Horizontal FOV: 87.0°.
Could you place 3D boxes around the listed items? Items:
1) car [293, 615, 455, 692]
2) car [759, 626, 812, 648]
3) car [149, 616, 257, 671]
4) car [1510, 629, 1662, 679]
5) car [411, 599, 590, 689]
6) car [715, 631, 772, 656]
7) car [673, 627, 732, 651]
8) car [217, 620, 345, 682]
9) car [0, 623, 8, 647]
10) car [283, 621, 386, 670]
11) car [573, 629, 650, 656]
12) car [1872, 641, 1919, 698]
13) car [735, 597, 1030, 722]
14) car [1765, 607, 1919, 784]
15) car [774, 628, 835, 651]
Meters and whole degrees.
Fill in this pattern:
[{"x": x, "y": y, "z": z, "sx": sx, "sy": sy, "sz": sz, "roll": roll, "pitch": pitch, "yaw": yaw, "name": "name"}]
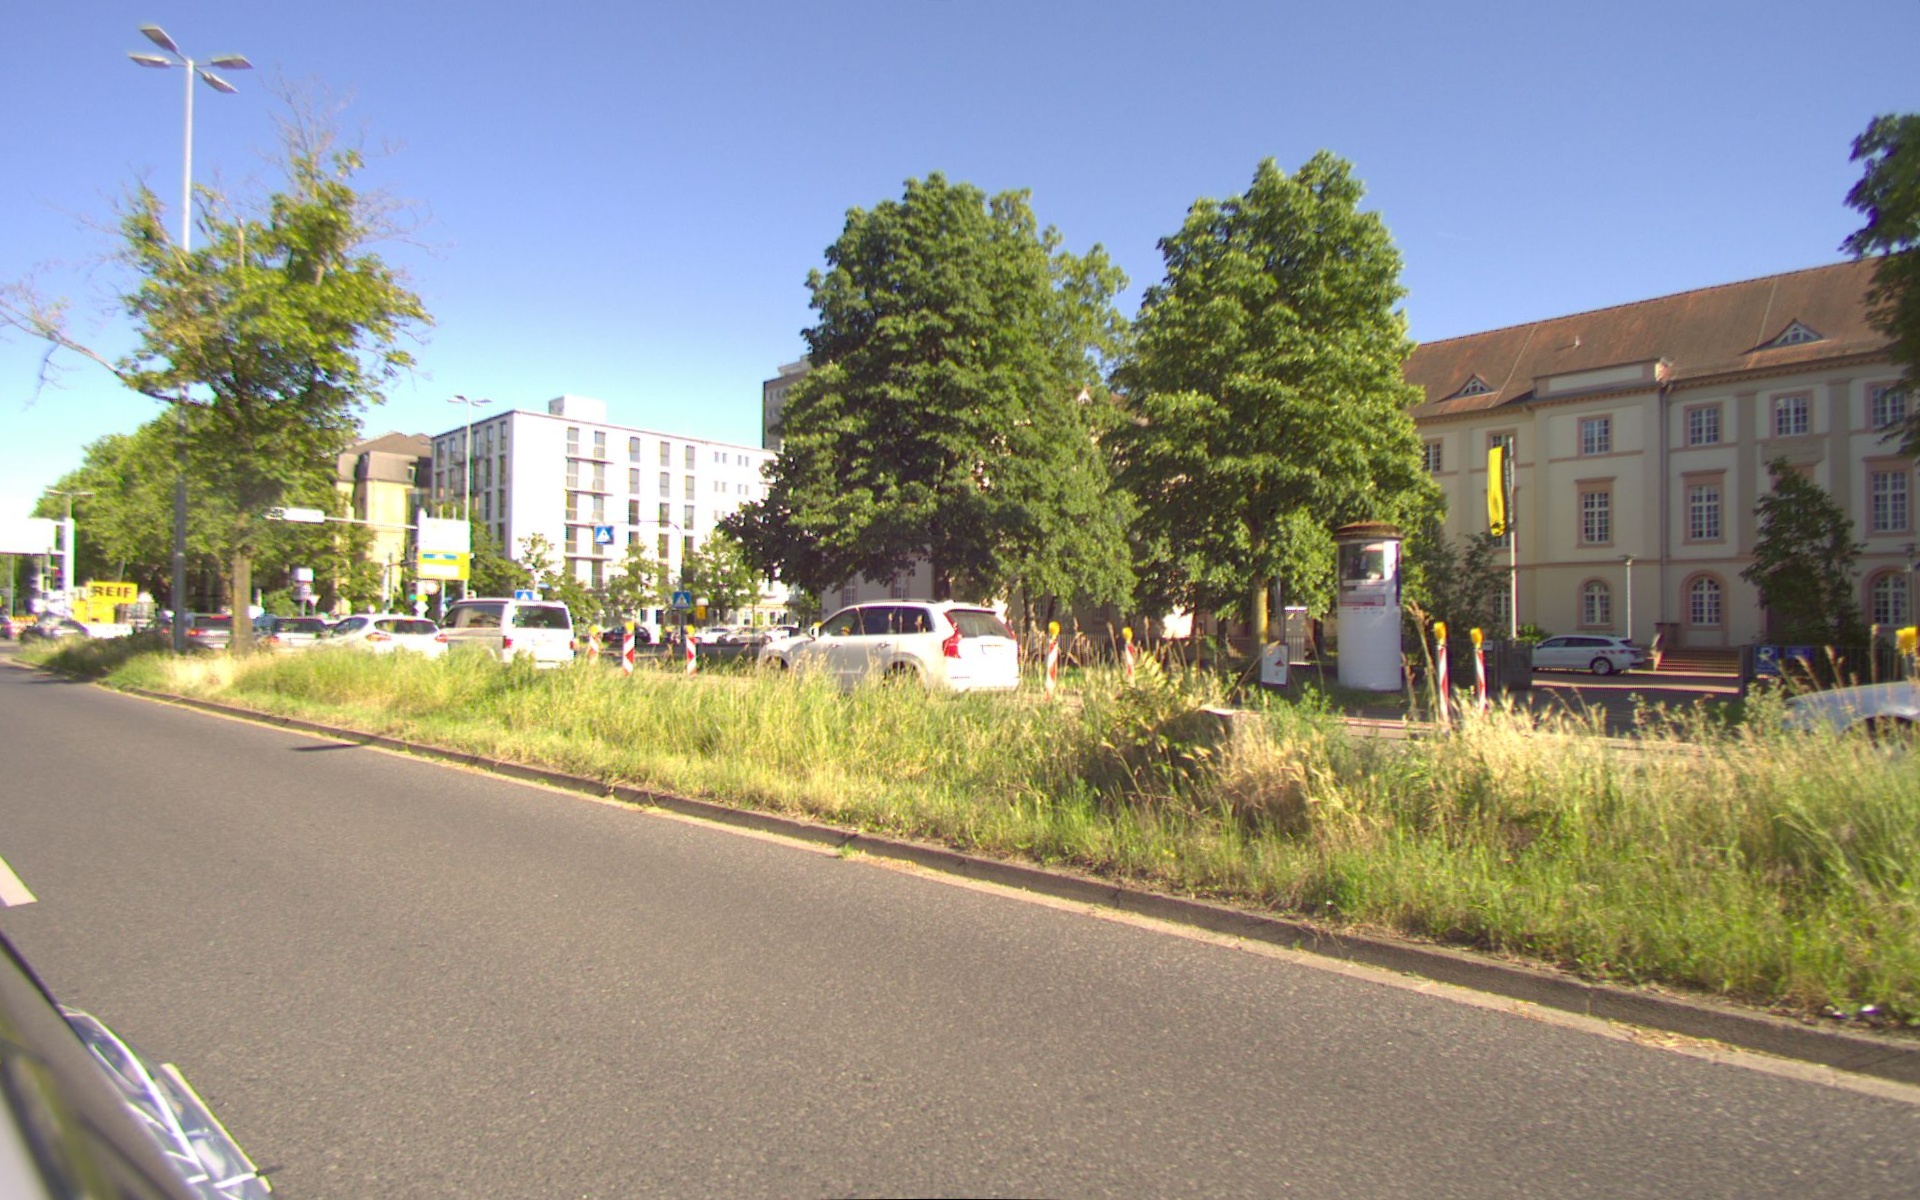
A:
[{"x": -12.935, "y": 1.120, "z": 22.257, "sx": 4.202, "sy": 1.530, "sz": 1.777, "roll": -1, "pitch": -2, "yaw": 40, "name": "car"}, {"x": -14.291, "y": 2.989, "z": 82.988, "sx": 3.940, "sy": 1.630, "sz": 1.921, "roll": 0, "pitch": 1, "yaw": -44, "name": "car"}, {"x": -23.443, "y": 1.285, "z": 31.277, "sx": 4.344, "sy": 1.530, "sz": 1.777, "roll": -1, "pitch": -1, "yaw": 40, "name": "car"}, {"x": 23.780, "y": 1.995, "z": 38.552, "sx": 4.684, "sy": 1.503, "sz": 1.625, "roll": 3, "pitch": 2, "yaw": 41, "name": "car"}, {"x": -11.674, "y": 1.065, "z": 25.581, "sx": 5.014, "sy": 2.043, "sz": 2.210, "roll": -1, "pitch": -2, "yaw": 40, "name": "car"}, {"x": -16.324, "y": 3.257, "z": 76.299, "sx": 3.940, "sy": 1.630, "sz": 1.563, "roll": 0, "pitch": 1, "yaw": -44, "name": "car"}, {"x": -19.708, "y": 2.952, "z": 77.402, "sx": 3.940, "sy": 1.630, "sz": 1.921, "roll": 0, "pitch": 1, "yaw": -44, "name": "car"}, {"x": -18.358, "y": 1.333, "z": 27.289, "sx": 4.360, "sy": 1.530, "sz": 1.777, "roll": -2, "pitch": -1, "yaw": 40, "name": "car"}, {"x": -65.493, "y": 2.345, "z": 68.046, "sx": 4.278, "sy": 1.598, "sz": 1.837, "roll": -1, "pitch": -2, "yaw": 43, "name": "car"}, {"x": -21.116, "y": 1.491, "z": 34.102, "sx": 4.076, "sy": 1.530, "sz": 1.777, "roll": -1, "pitch": -2, "yaw": 40, "name": "car"}, {"x": -23.947, "y": 2.915, "z": 69.613, "sx": 4.637, "sy": 1.630, "sz": 1.922, "roll": 1, "pitch": 1, "yaw": -40, "name": "car"}, {"x": 23.871, "y": 1.648, "z": 23.681, "sx": 1.743, "sy": 1.333, "sz": 3.507, "roll": 2, "pitch": -3, "yaw": -39, "name": "car"}, {"x": -1.394, "y": 0.893, "z": 16.505, "sx": 5.028, "sy": 1.756, "sz": 1.777, "roll": -1, "pitch": -2, "yaw": 40, "name": "car"}, {"x": 8.888, "y": 0.731, "z": 7.708, "sx": 4.255, "sy": 1.362, "sz": 1.777, "roll": -1, "pitch": -2, "yaw": 40, "name": "car"}, {"x": -12.344, "y": 3.117, "z": 80.576, "sx": 1.919, "sy": 1.630, "sz": 4.645, "roll": 2, "pitch": 1, "yaw": 43, "name": "car"}]
